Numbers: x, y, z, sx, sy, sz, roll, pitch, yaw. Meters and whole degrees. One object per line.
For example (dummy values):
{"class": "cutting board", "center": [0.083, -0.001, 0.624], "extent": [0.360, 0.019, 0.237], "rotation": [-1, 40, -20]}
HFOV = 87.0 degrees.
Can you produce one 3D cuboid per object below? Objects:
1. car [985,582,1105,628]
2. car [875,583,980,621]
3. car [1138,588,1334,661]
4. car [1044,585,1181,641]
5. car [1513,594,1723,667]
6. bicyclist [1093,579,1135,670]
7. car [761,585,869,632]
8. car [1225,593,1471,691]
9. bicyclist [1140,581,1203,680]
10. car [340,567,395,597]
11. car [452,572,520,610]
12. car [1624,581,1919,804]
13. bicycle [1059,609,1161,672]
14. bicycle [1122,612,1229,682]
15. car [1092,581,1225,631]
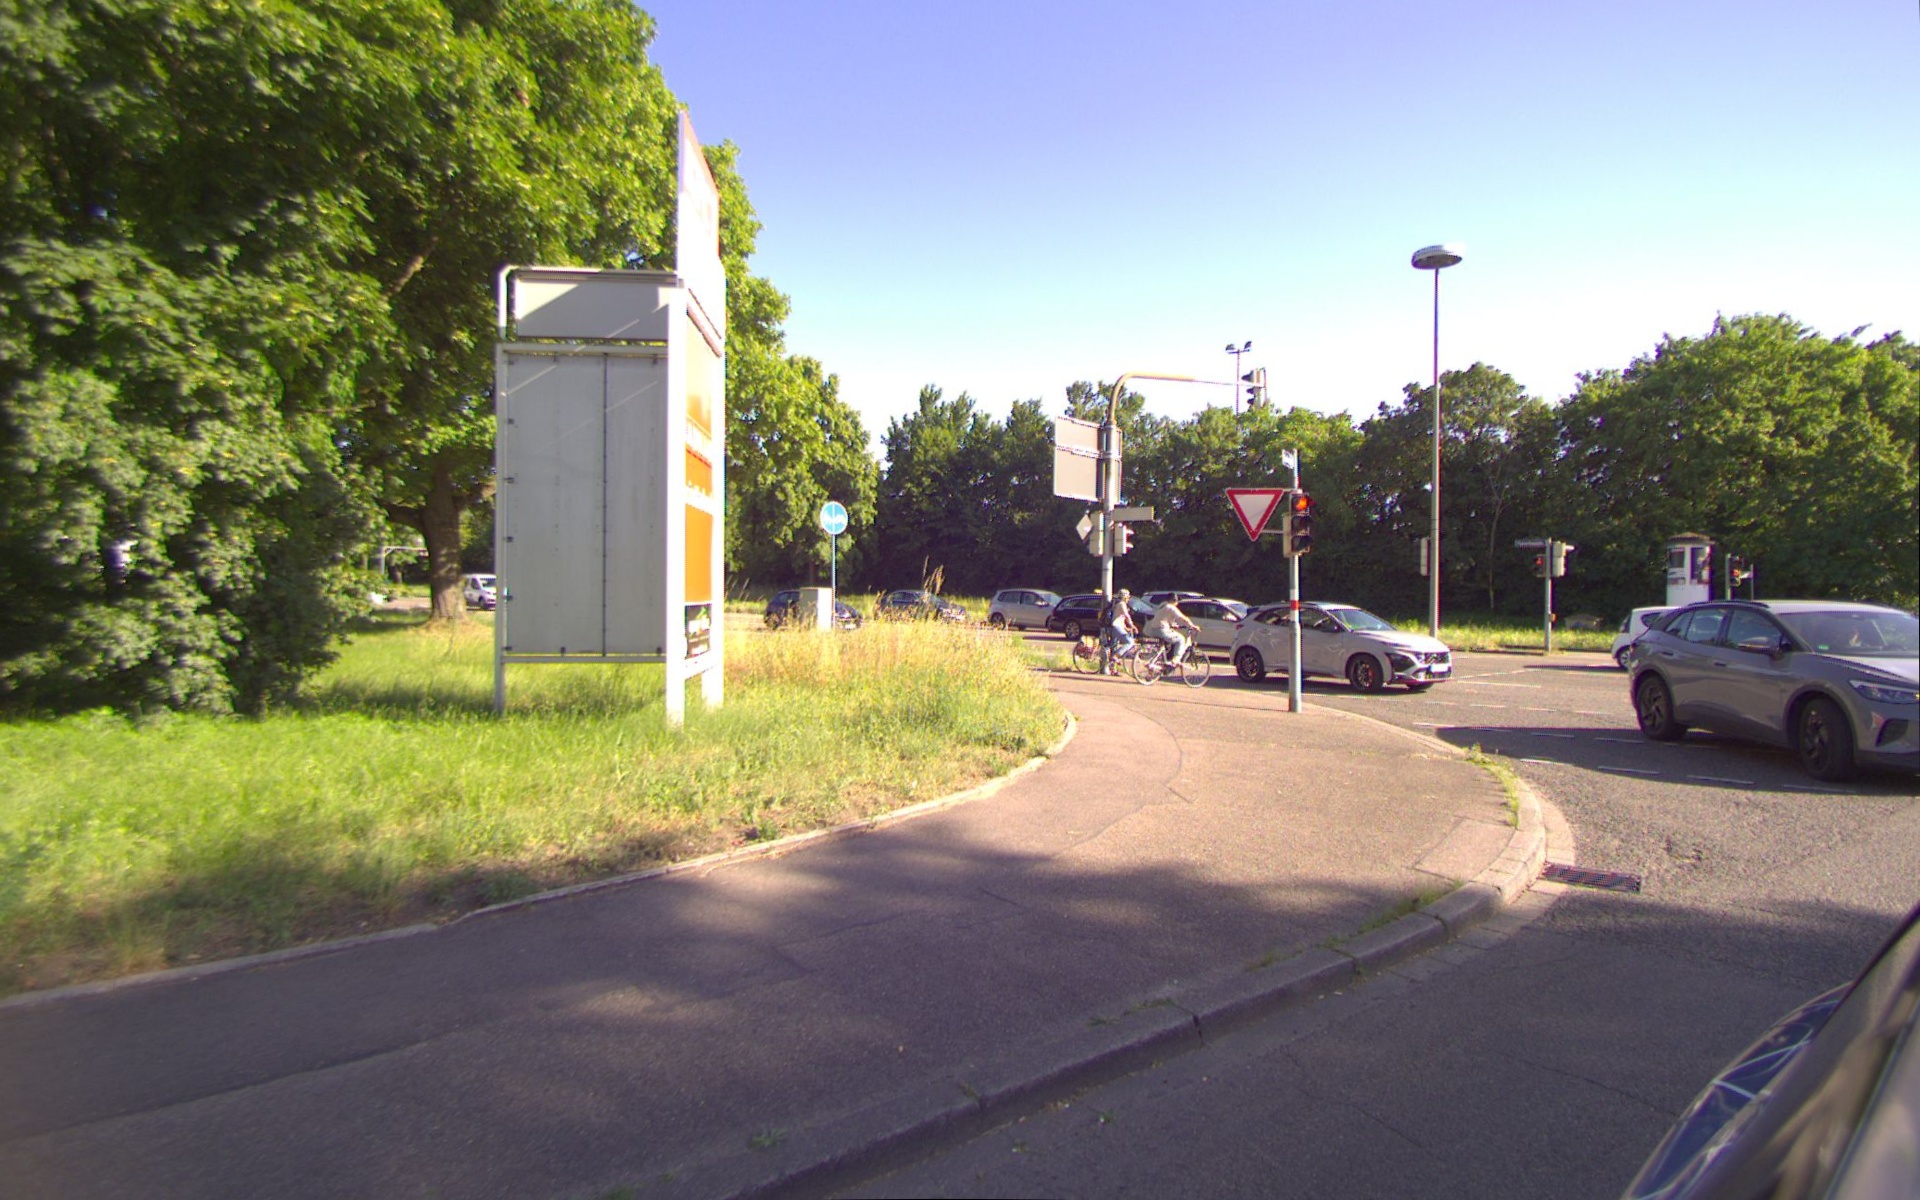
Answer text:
{"class": "car", "center": [3.176, 0.155, 38.243], "extent": [4.226, 1.594, 1.852], "rotation": [2, 1, 41]}
{"class": "car", "center": [-1.403, 0.052, 42.405], "extent": [4.337, 1.422, 1.810], "rotation": [2, 1, 41]}
{"class": "car", "center": [6.781, 0.532, 25.152], "extent": [4.349, 1.504, 1.892], "rotation": [2, 3, 43]}
{"class": "car", "center": [4.776, 0.361, 31.858], "extent": [3.972, 1.560, 1.605], "rotation": [1, 3, 34]}
{"class": "car", "center": [15.219, 0.645, 23.516], "extent": [3.895, 1.458, 1.668], "rotation": [2, 2, 41]}
{"class": "bicyclist", "center": [3.017, 0.472, 19.872], "extent": [0.573, 1.717, 0.528], "rotation": [4, 1, -9]}
{"class": "car", "center": [-5.180, 0.253, 35.905], "extent": [3.895, 1.457, 1.668], "rotation": [2, 3, 41]}
{"class": "car", "center": [7.112, 0.682, 18.976], "extent": [1.660, 1.593, 4.123], "rotation": [-2, 1, -33]}
{"class": "bicyclist", "center": [3.771, 0.541, 18.048], "extent": [0.791, 1.655, 0.544], "rotation": [5, 1, -27]}
{"class": "car", "center": [-37.629, -1.161, 64.250], "extent": [3.895, 1.820, 1.815], "rotation": [2, 3, 41]}
{"class": "car", "center": [-24.812, -0.514, 52.965], "extent": [3.895, 1.820, 1.774], "rotation": [2, 3, 41]}
{"class": "car", "center": [8.830, 0.707, 10.108], "extent": [1.961, 1.660, 4.357], "rotation": [0, 3, 8]}
{"class": "bicycle", "center": [2.947, 0.795, 19.869], "extent": [1.832, 1.089, 0.532], "rotation": [4, 1, -9]}
{"class": "bicycle", "center": [3.865, 0.845, 18.094], "extent": [1.831, 1.089, 0.532], "rotation": [5, 1, -26]}
{"class": "car", "center": [6.817, 0.176, 35.036], "extent": [4.177, 1.557, 1.809], "rotation": [2, 1, 41]}
